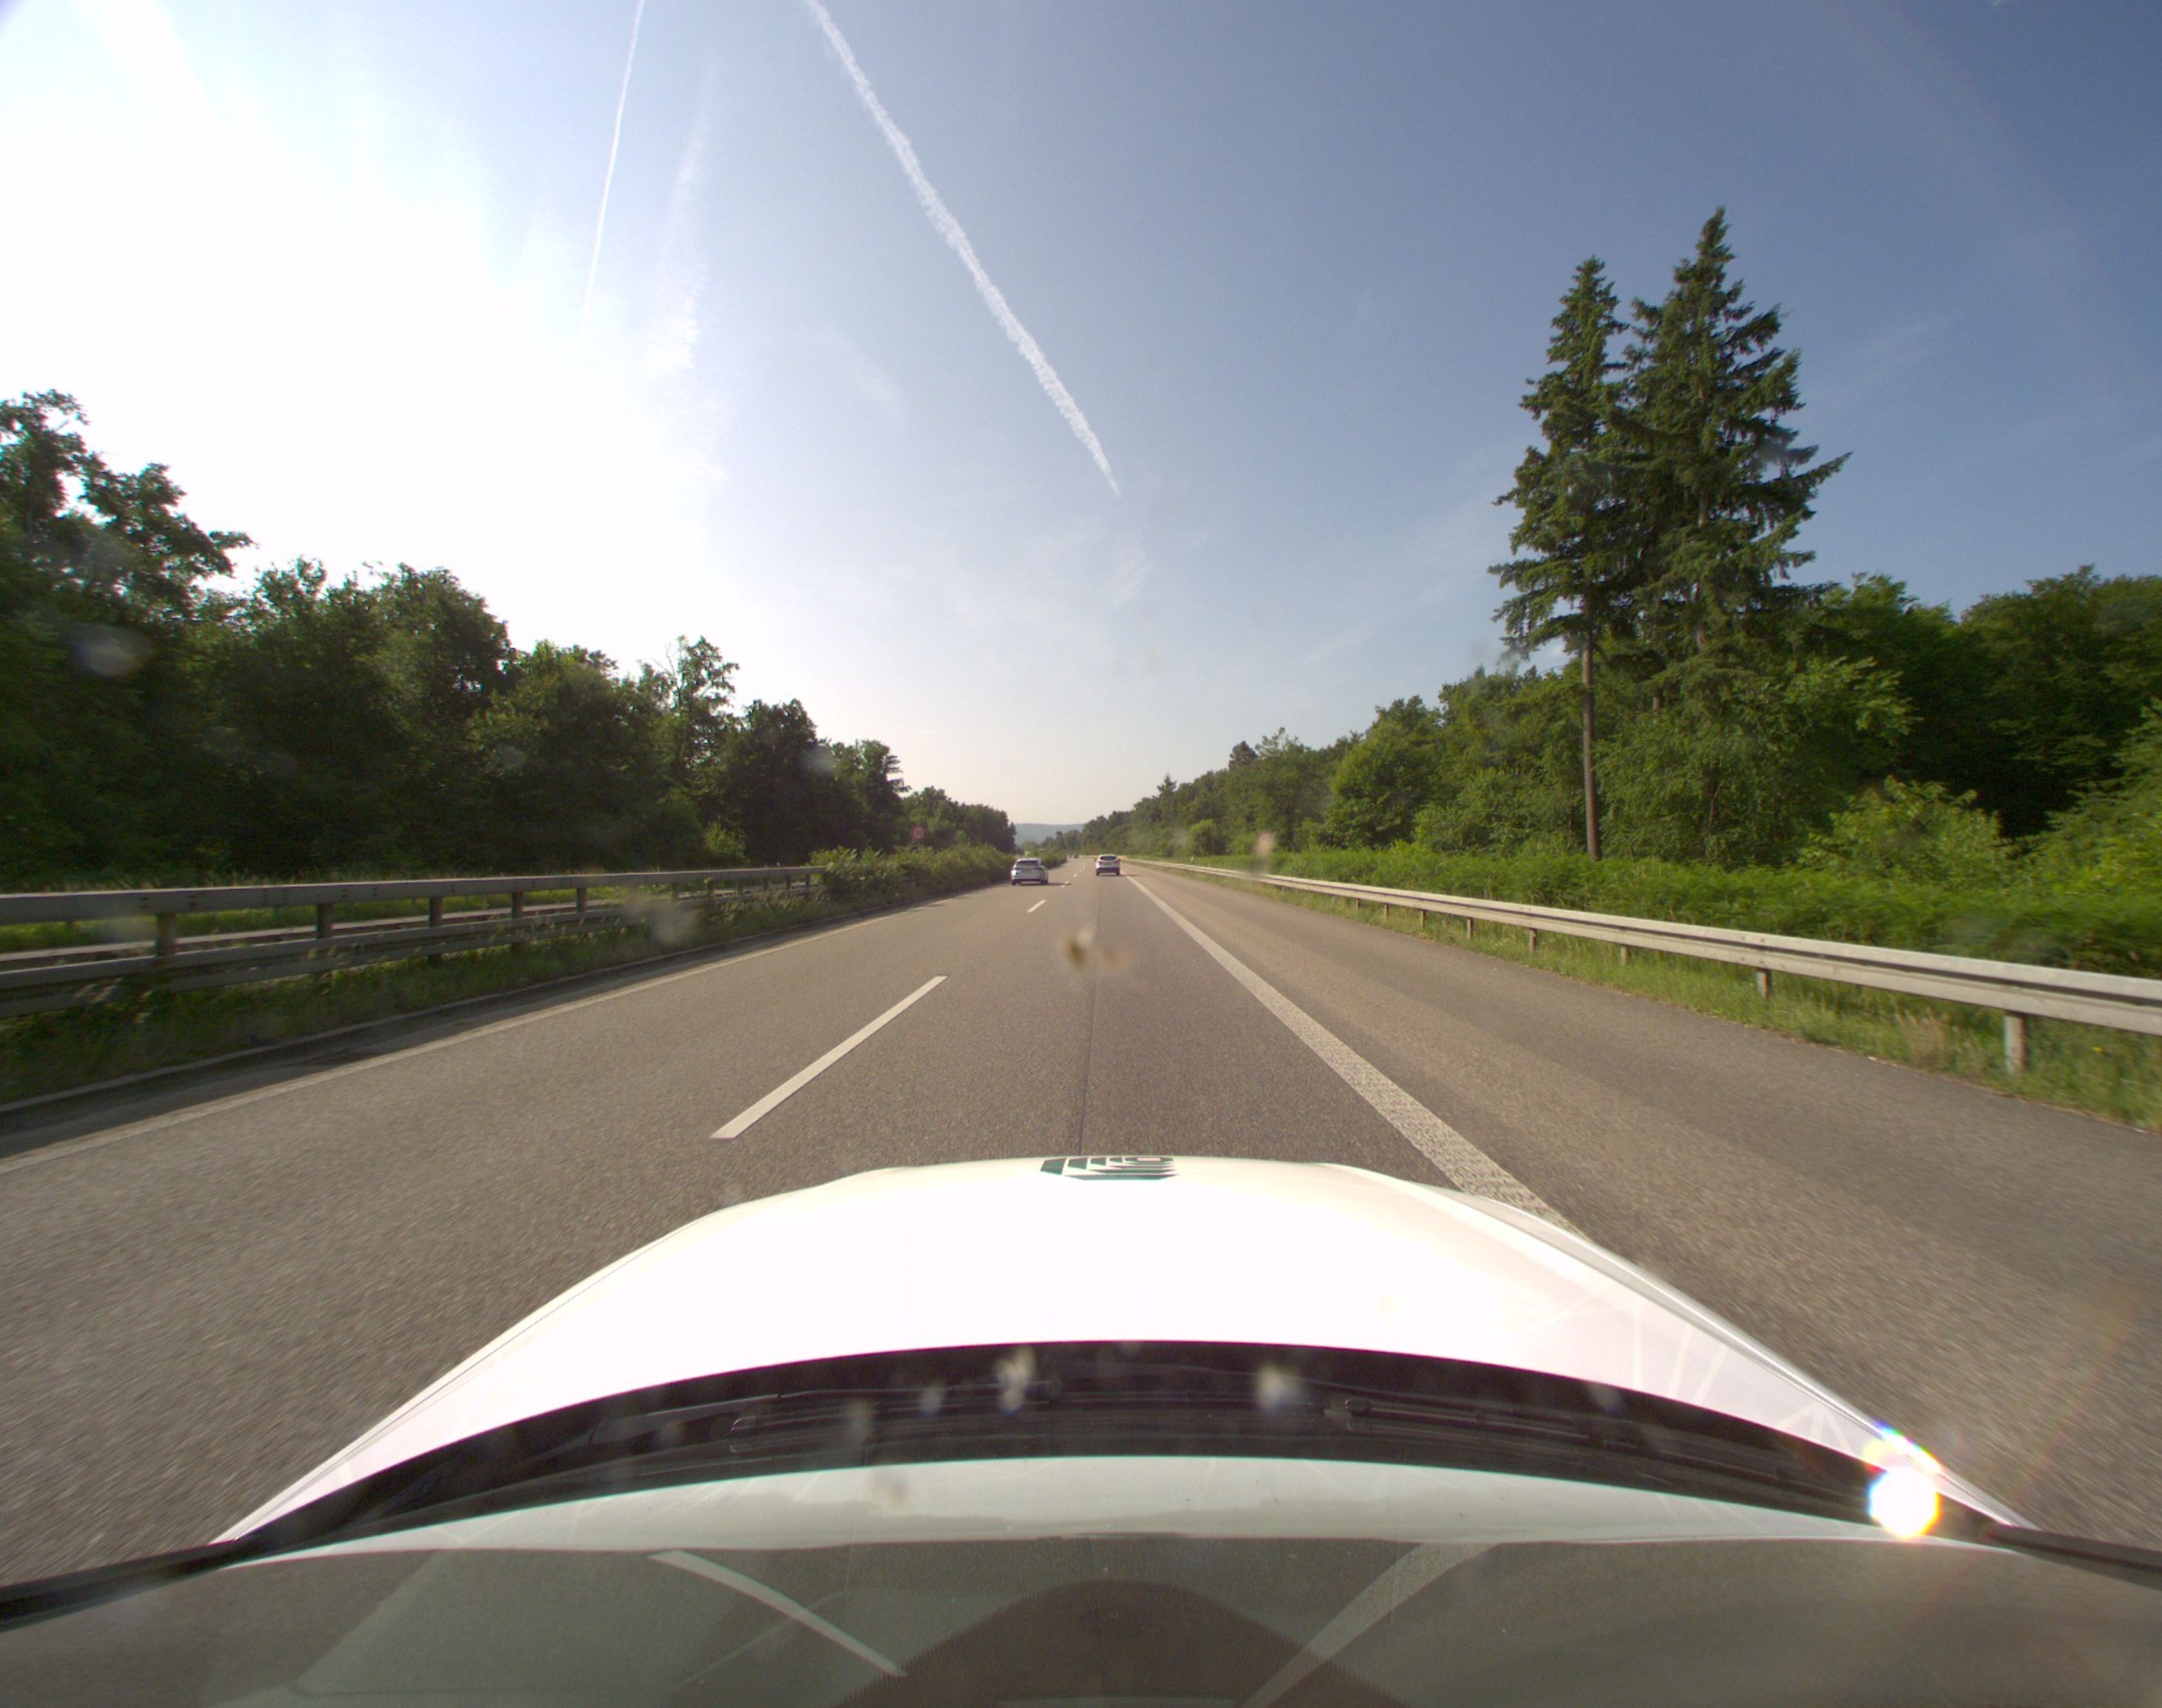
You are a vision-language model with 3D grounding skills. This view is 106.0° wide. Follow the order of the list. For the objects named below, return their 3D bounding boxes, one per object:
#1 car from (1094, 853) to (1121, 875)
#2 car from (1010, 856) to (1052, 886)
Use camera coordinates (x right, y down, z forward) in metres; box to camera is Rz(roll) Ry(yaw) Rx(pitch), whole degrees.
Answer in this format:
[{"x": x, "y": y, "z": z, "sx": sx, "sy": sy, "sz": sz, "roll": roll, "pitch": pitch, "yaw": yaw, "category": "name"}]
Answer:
[{"x": 1.992, "y": 0.724, "z": 61.853, "sx": 1.867, "sy": 1.586, "sz": 3.999, "roll": 1, "pitch": 0, "yaw": 0, "category": "car"}, {"x": -2.710, "y": 0.894, "z": 44.984, "sx": 1.785, "sy": 1.438, "sz": 5.280, "roll": -2, "pitch": 0, "yaw": 2, "category": "car"}]
